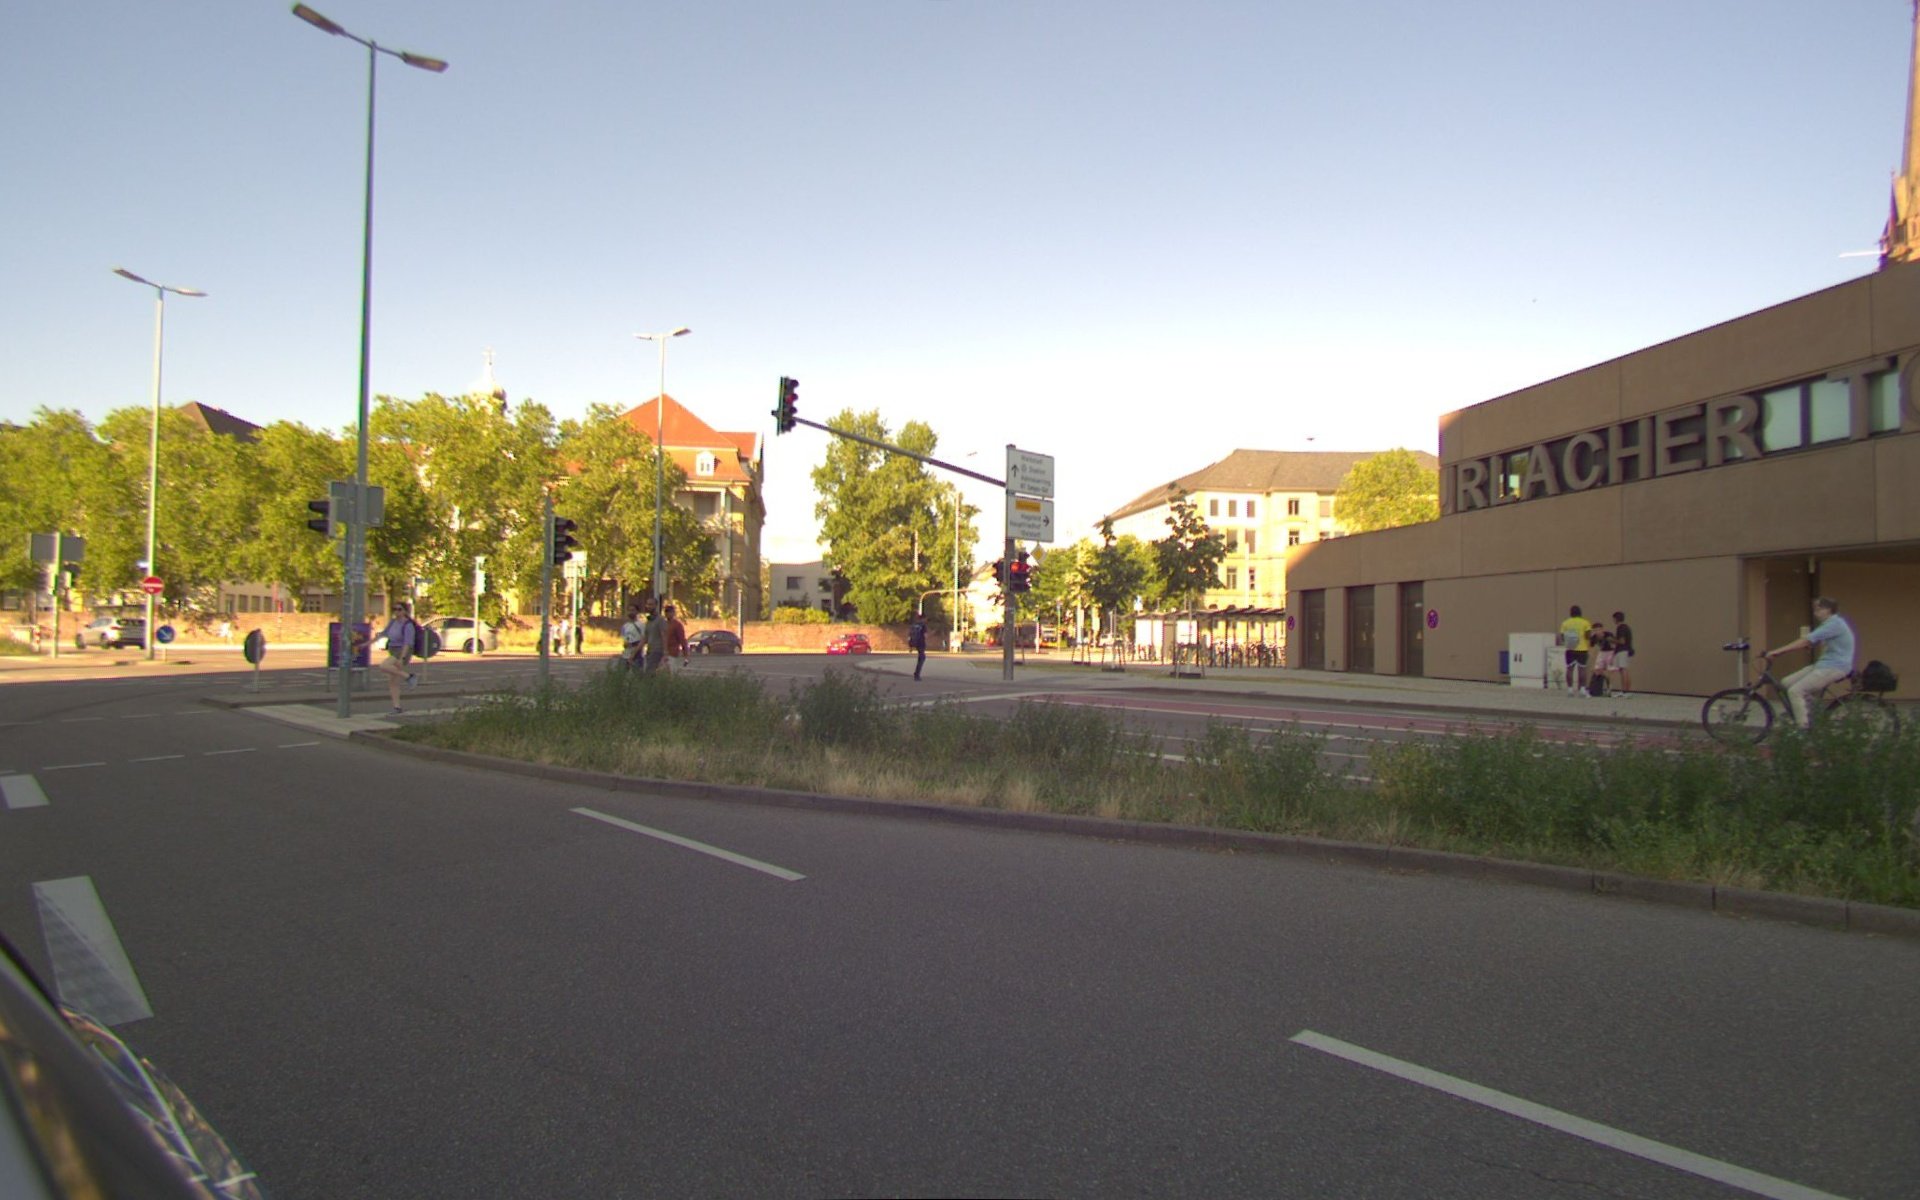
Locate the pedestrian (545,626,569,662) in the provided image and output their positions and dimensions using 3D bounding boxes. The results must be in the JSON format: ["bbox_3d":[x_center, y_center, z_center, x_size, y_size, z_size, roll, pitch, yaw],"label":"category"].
[{"bbox_3d":[-19.669,2.147,49.378,0.858,1.686,0.715,3,0,-34],"label":"pedestrian"}]

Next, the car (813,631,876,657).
[{"bbox_3d":[-7.535,2.885,66.252,2.180,1.598,4.572,-2,-3,22],"label":"car"}]

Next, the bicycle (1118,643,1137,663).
[{"bbox_3d":[9.252,2.935,55.967,0.558,1.062,1.975,-1,-1,-5],"label":"bicycle"}]

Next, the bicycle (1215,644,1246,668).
[{"bbox_3d":[13.046,2.692,48.885,0.594,1.051,2.038,-1,-1,-9],"label":"bicycle"}]

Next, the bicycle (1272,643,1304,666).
[{"bbox_3d":[16.502,2.752,50.973,0.557,1.097,2.076,-1,-1,-11],"label":"bicycle"}]

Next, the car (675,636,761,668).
[{"bbox_3d":[-12.780,2.733,53.711,2.180,1.598,4.572,-2,-3,22],"label":"car"}]

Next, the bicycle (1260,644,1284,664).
[{"bbox_3d":[17.149,2.954,55.708,0.411,1.062,1.977,-1,-1,-9],"label":"bicycle"}]

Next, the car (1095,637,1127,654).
[{"bbox_3d":[20.527,6.106,137.622,4.087,2.029,2.003,-3,0,-40],"label":"car"}]

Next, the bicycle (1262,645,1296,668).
[{"bbox_3d":[15.575,2.742,49.421,0.594,1.051,2.113,-1,-1,-12],"label":"bicycle"}]

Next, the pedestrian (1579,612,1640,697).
[{"bbox_3d":[13.632,1.135,21.256,0.724,1.744,0.666,-1,-3,-11],"label":"pedestrian"}]

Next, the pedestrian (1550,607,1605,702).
[{"bbox_3d":[12.375,1.082,20.285,0.706,1.849,0.641,1,-4,-35],"label":"pedestrian"}]

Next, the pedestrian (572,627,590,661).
[{"bbox_3d":[-19.296,2.222,51.568,0.779,1.665,0.715,3,0,-19],"label":"pedestrian"}]

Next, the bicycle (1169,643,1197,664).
[{"bbox_3d":[12.018,2.899,54.599,0.746,1.062,1.977,-1,-1,-10],"label":"bicycle"}]

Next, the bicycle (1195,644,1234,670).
[{"bbox_3d":[11.246,2.534,44.834,0.732,1.114,2.130,-1,-3,-14],"label":"bicycle"}]

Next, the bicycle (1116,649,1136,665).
[{"bbox_3d":[13.161,4.516,80.224,0.761,1.196,2.580,-3,-3,28],"label":"bicycle"}]

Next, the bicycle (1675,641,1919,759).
[{"bbox_3d":[10.089,1.146,12.063,2.551,1.265,0.733,0,-2,36],"label":"bicycle"}]

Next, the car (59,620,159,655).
[{"bbox_3d":[-41.650,1.818,49.534,4.339,1.633,2.137,0,-2,26],"label":"car"}]

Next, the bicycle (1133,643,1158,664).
[{"bbox_3d":[9.931,2.880,54.336,0.557,1.062,1.978,-1,-1,-12],"label":"bicycle"}]

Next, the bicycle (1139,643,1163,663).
[{"bbox_3d":[10.651,2.952,56.498,0.672,1.062,2.026,-1,-1,-9],"label":"bicycle"}]

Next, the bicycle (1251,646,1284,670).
[{"bbox_3d":[13.831,2.606,45.603,0.514,1.051,1.853,-1,-1,-15],"label":"bicycle"}]

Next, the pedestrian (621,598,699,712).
[{"bbox_3d":[-4.795,0.865,16.164,0.757,1.754,0.914,-2,-3,44],"label":"pedestrian"}]

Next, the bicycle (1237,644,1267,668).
[{"bbox_3d":[14.135,2.707,49.048,0.595,1.051,2.037,-1,-1,-6],"label":"bicycle"}]

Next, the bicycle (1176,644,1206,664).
[{"bbox_3d":[13.071,3.031,57.242,0.824,1.062,2.124,-1,-1,-12],"label":"bicycle"}]

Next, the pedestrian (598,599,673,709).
[{"bbox_3d":[-5.364,0.880,16.741,0.757,1.754,0.914,-2,-3,44],"label":"pedestrian"}]

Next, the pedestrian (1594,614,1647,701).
[{"bbox_3d":[13.223,1.149,20.254,0.628,1.702,0.552,0,-3,-23],"label":"pedestrian"}]

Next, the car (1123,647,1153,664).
[{"bbox_3d":[16.756,5.220,95.302,1.797,1.455,3.944,-1,-1,25],"label":"car"}]

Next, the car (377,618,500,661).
[{"bbox_3d":[-22.101,1.676,42.931,4.528,1.697,2.202,0,-3,-31],"label":"car"}]

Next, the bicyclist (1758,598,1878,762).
[{"bbox_3d":[10.145,0.908,12.006,1.011,1.846,0.733,0,-2,36],"label":"bicyclist"}]

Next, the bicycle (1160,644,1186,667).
[{"bbox_3d":[10.606,2.758,50.426,0.477,1.114,1.806,-1,-2,-16],"label":"bicycle"}]

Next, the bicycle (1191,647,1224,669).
[{"bbox_3d":[12.489,2.933,51.146,0.852,1.051,1.936,-1,-1,-12],"label":"bicycle"}]

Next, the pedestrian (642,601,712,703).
[{"bbox_3d":[-5.064,0.919,18.130,0.788,1.754,0.914,-2,-3,44],"label":"pedestrian"}]

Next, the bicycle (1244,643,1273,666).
[{"bbox_3d":[15.200,2.776,51.537,0.528,1.097,1.936,-1,-1,-11],"label":"bicycle"}]

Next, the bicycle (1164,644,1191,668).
[{"bbox_3d":[10.499,2.682,48.901,0.558,1.114,1.977,-1,-1,-10],"label":"bicycle"}]

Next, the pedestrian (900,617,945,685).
[{"bbox_3d":[-0.952,1.284,25.766,0.748,1.698,0.887,-2,-3,44],"label":"pedestrian"}]

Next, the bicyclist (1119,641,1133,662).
[{"bbox_3d":[13.169,4.086,80.276,0.762,1.681,1.052,-3,-3,28],"label":"bicyclist"}]

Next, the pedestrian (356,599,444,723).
[{"bbox_3d":[-8.262,0.885,14.932,0.757,1.754,0.914,-2,-3,44],"label":"pedestrian"}]

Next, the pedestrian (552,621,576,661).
[{"bbox_3d":[-19.661,2.022,50.233,0.858,1.908,0.715,3,0,-34],"label":"pedestrian"}]

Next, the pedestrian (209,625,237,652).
[{"bbox_3d":[-42.072,2.189,57.809,0.919,1.548,0.964,-1,-3,29],"label":"pedestrian"}]
